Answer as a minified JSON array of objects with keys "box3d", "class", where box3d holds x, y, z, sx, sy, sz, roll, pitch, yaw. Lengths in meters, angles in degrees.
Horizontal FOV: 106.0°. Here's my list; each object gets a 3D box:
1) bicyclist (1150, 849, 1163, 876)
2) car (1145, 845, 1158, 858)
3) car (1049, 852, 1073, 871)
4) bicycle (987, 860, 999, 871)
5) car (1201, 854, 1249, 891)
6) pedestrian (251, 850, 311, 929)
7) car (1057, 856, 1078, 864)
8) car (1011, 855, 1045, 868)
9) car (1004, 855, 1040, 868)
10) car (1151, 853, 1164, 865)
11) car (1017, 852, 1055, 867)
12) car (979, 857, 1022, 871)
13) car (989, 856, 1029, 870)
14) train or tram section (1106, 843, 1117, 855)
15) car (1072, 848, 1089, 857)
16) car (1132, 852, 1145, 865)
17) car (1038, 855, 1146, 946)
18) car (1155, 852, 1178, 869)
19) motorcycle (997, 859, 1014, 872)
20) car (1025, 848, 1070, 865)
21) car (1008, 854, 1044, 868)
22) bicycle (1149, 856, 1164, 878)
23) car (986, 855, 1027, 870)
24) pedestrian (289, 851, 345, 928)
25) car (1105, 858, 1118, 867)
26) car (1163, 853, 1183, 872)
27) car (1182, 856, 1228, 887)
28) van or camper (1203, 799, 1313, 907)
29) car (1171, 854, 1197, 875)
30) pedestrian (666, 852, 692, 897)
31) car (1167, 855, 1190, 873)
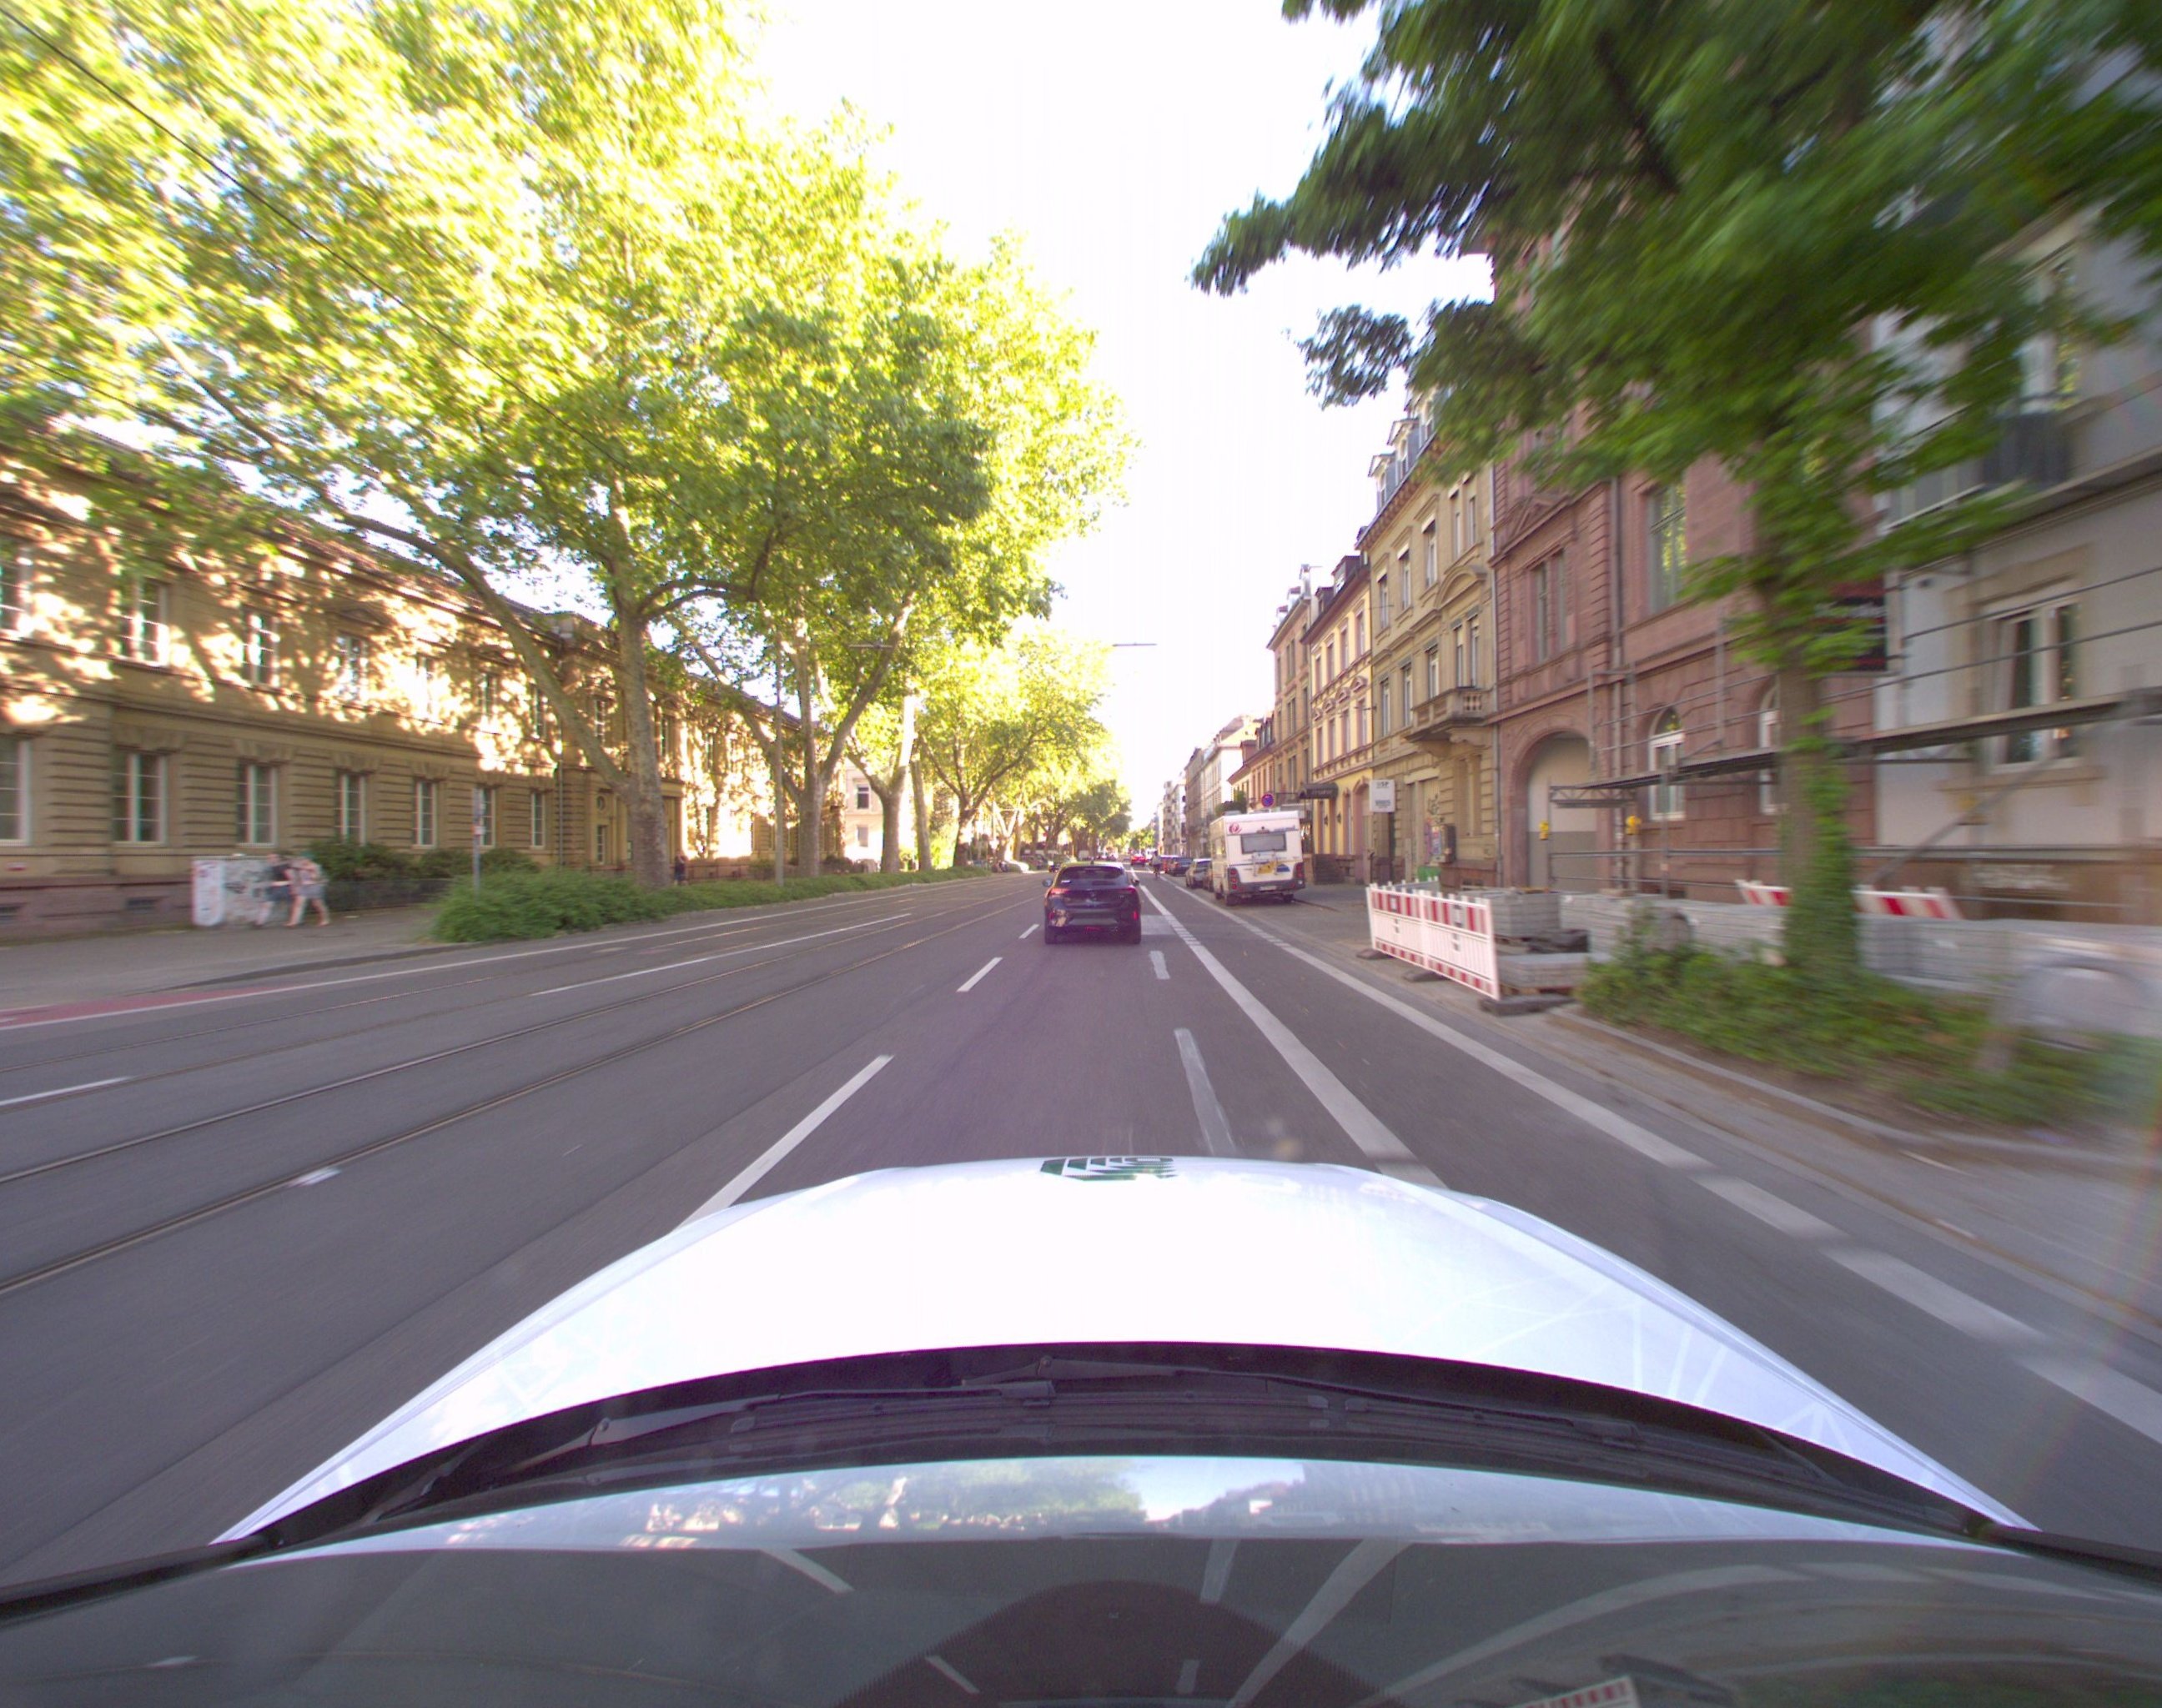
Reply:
[{"box3d":[4.944,0.558,53.343,0.844,1.740,1.162,0,0,2],"class":"bicyclist"},{"box3d":[13.007,-0.418,150.158,2.066,2.219,4.940,-4,0,5],"class":"car"},{"box3d":[-1.841,0.670,77.644,1.859,1.629,4.564,-1,1,3],"class":"car"},{"box3d":[-8.003,1.059,74.292,0.537,0.940,2.040,0,0,11],"class":"bicycle"},{"box3d":[6.349,0.777,36.249,1.637,1.434,4.034,-4,0,5],"class":"car"},{"box3d":[-17.670,0.772,17.997,0.670,1.697,0.661,0,0,-4],"class":"pedestrian"},{"box3d":[-2.495,1.068,153.859,3.906,1.498,1.677,1,0,0],"class":"car"},{"box3d":[-6.352,0.894,98.682,3.905,1.421,1.819,1,0,1],"class":"car"},{"box3d":[-6.825,0.880,94.072,3.903,1.442,1.750,1,0,3],"class":"car"},{"box3d":[10.605,0.662,112.595,1.696,1.456,3.704,-4,0,7],"class":"car"},{"box3d":[-5.948,0.707,108.109,4.653,1.924,1.982,1,0,4],"class":"car"},{"box3d":[-7.884,0.952,80.139,3.902,1.332,1.849,1,0,4],"class":"car"},{"box3d":[-7.516,0.963,85.509,3.903,1.462,1.807,-1,0,3],"class":"car"},{"box3d":[9.360,-1.445,246.094,2.722,3.682,12.732,-1,0,5],"class":"train or tram section"},{"box3d":[-0.123,-0.310,184.525,3.906,1.790,1.677,1,0,0],"class":"car"},{"box3d":[8.105,0.583,114.660,1.801,1.742,3.938,-1,0,5],"class":"car"},{"box3d":[0.286,0.774,15.226,1.786,1.441,3.534,0,1,3],"class":"car"},{"box3d":[8.738,0.659,83.505,1.874,1.586,3.932,-4,0,0],"class":"car"},{"box3d":[-6.904,1.066,74.259,0.878,1.147,2.398,0,0,11],"class":"motorcycle"},{"box3d":[-5.062,0.365,123.198,6.599,2.409,2.460,1,0,3],"class":"car"},{"box3d":[-6.495,0.818,96.280,3.978,1.627,1.881,1,0,3],"class":"car"},{"box3d":[4.953,0.838,53.288,0.857,1.407,2.525,0,0,2],"class":"bicycle"},{"box3d":[-7.590,0.888,82.940,3.905,1.453,1.801,0,0,3],"class":"car"},{"box3d":[-17.002,0.776,18.134,0.632,1.697,0.655,0,0,-4],"class":"pedestrian"},{"box3d":[4.549,1.259,121.333,1.802,1.338,3.936,0,0,3],"class":"car"},{"box3d":[8.151,0.754,72.132,1.627,1.546,3.580,-2,0,5],"class":"car"},{"box3d":[6.198,0.861,41.188,1.802,1.435,4.669,-2,0,3],"class":"car"},{"box3d":[5.729,-0.029,27.674,2.466,2.972,7.894,-4,0,5],"class":"van or camper"},{"box3d":[7.554,0.742,60.235,1.686,1.392,4.500,-2,0,5],"class":"car"},{"box3d":[-16.631,0.841,33.712,0.717,1.849,0.836,0,0,-4],"class":"pedestrian"},{"box3d":[8.035,0.800,67.538,1.643,1.456,3.872,-2,0,4],"class":"car"}]
